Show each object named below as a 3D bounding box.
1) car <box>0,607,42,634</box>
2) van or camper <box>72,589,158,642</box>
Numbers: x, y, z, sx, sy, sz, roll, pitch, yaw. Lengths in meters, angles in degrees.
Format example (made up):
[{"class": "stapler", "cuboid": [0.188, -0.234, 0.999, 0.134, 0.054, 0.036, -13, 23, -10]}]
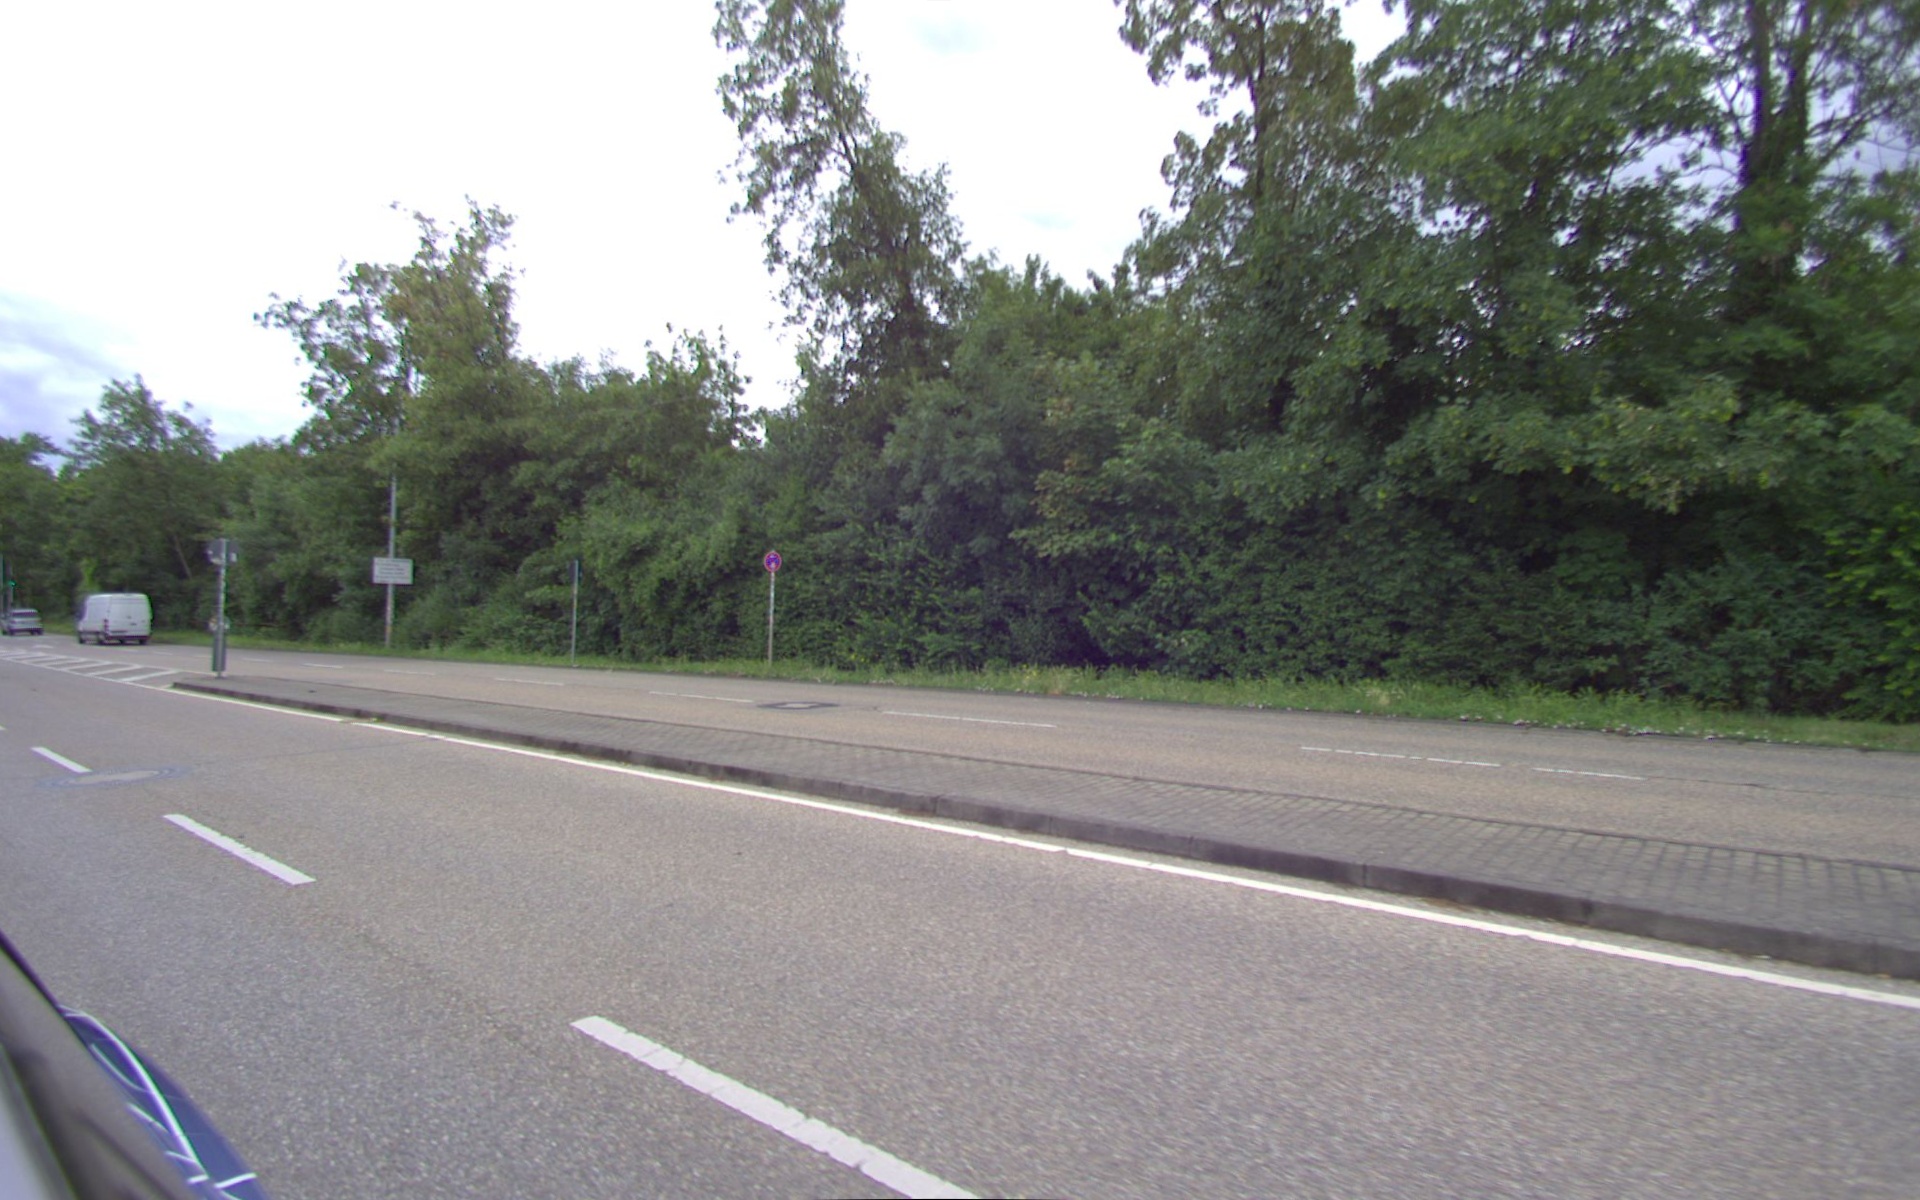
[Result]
[{"class": "car", "cuboid": [-65.652, 1.461, 70.497, 4.378, 1.844, 1.795, -2, -2, 39]}, {"class": "van or camper", "cuboid": [-43.887, 0.816, 52.493, 6.854, 2.574, 2.260, -1, -1, 40]}]
